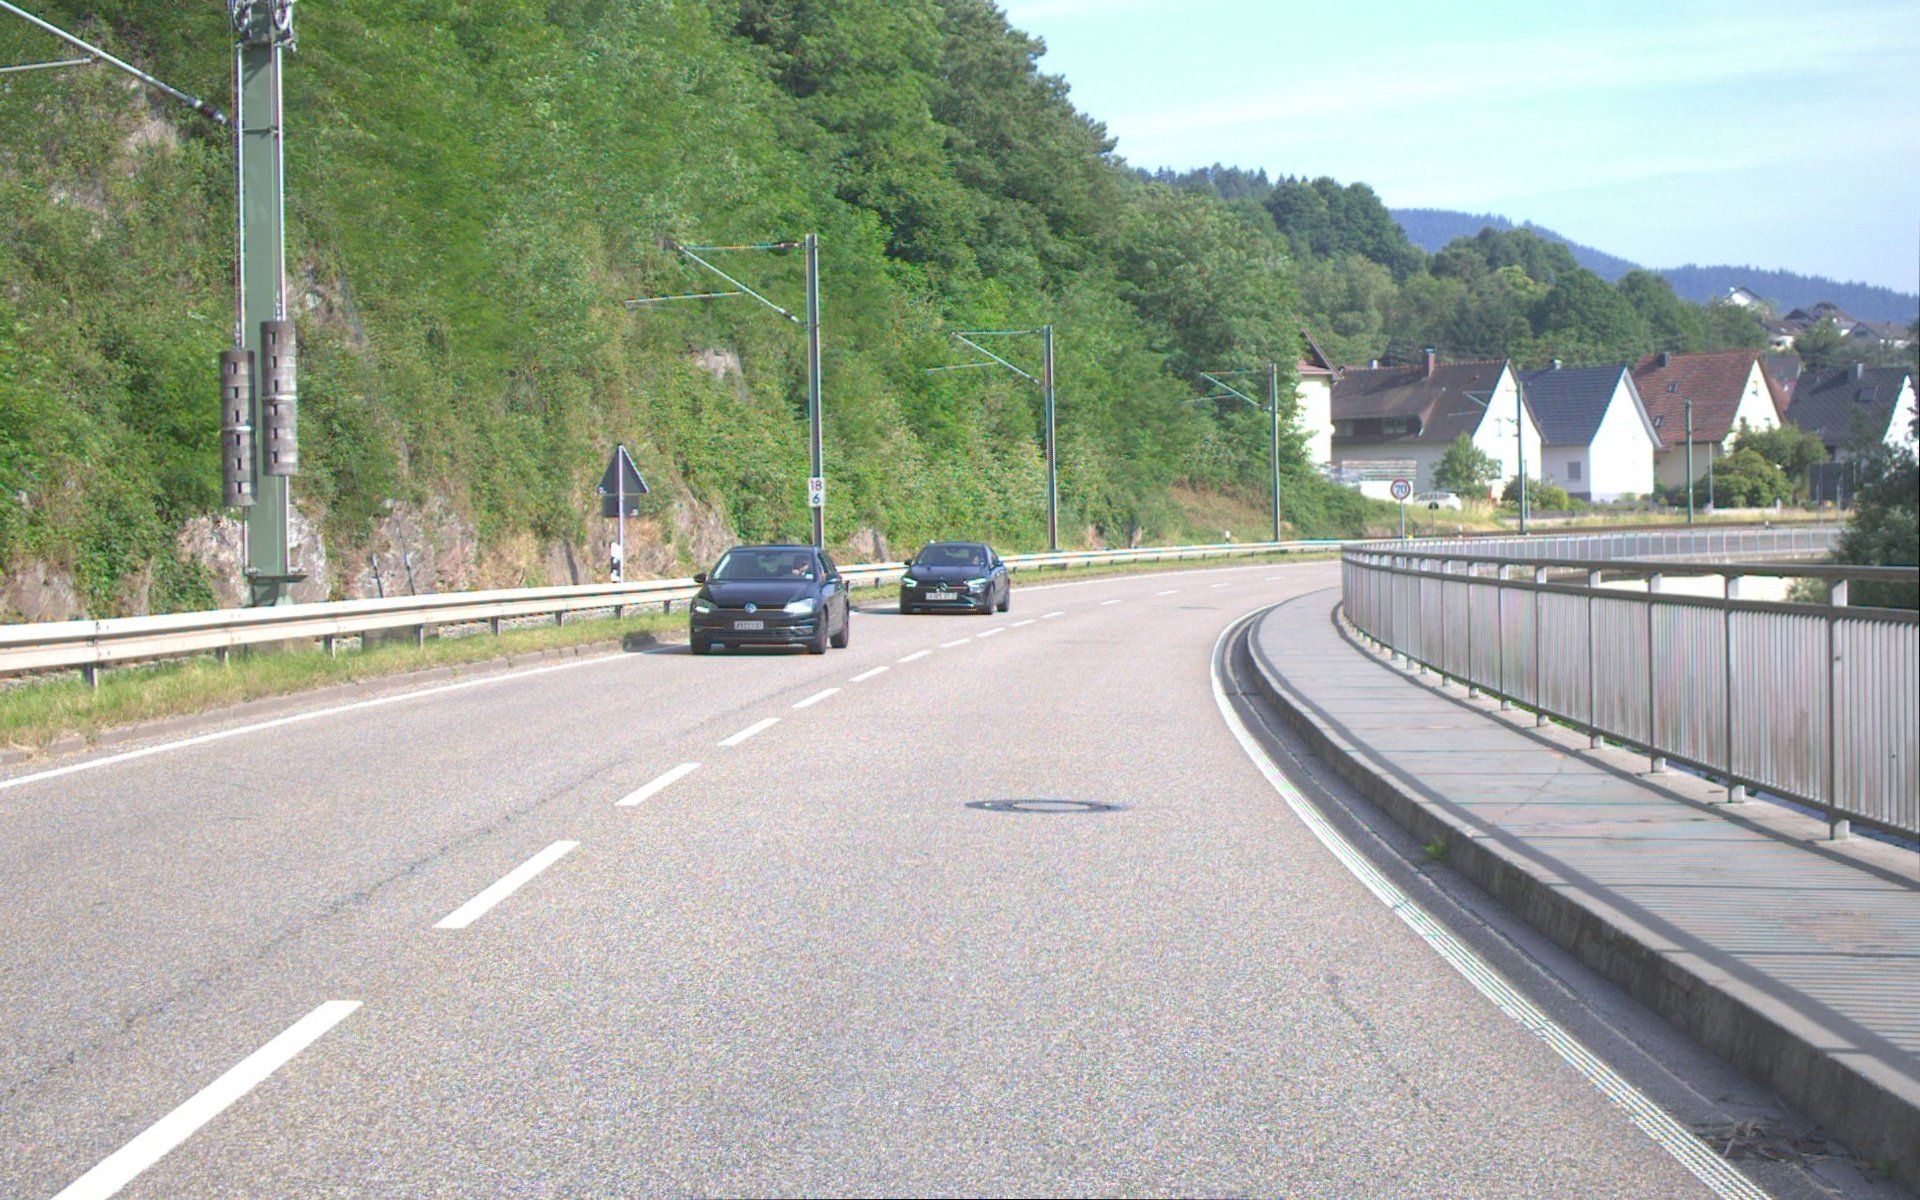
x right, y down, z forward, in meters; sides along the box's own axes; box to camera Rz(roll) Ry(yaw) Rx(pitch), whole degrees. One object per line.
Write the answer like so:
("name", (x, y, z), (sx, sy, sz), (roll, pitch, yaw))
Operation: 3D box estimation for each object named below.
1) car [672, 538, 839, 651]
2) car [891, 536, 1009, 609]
("car", (-2.703, -0.104, 46.231), (1.847, 1.435, 3.897), (1, 1, 2))
("car", (-0.163, -0.562, 68.815), (1.847, 1.397, 4.475), (0, 1, 7))
